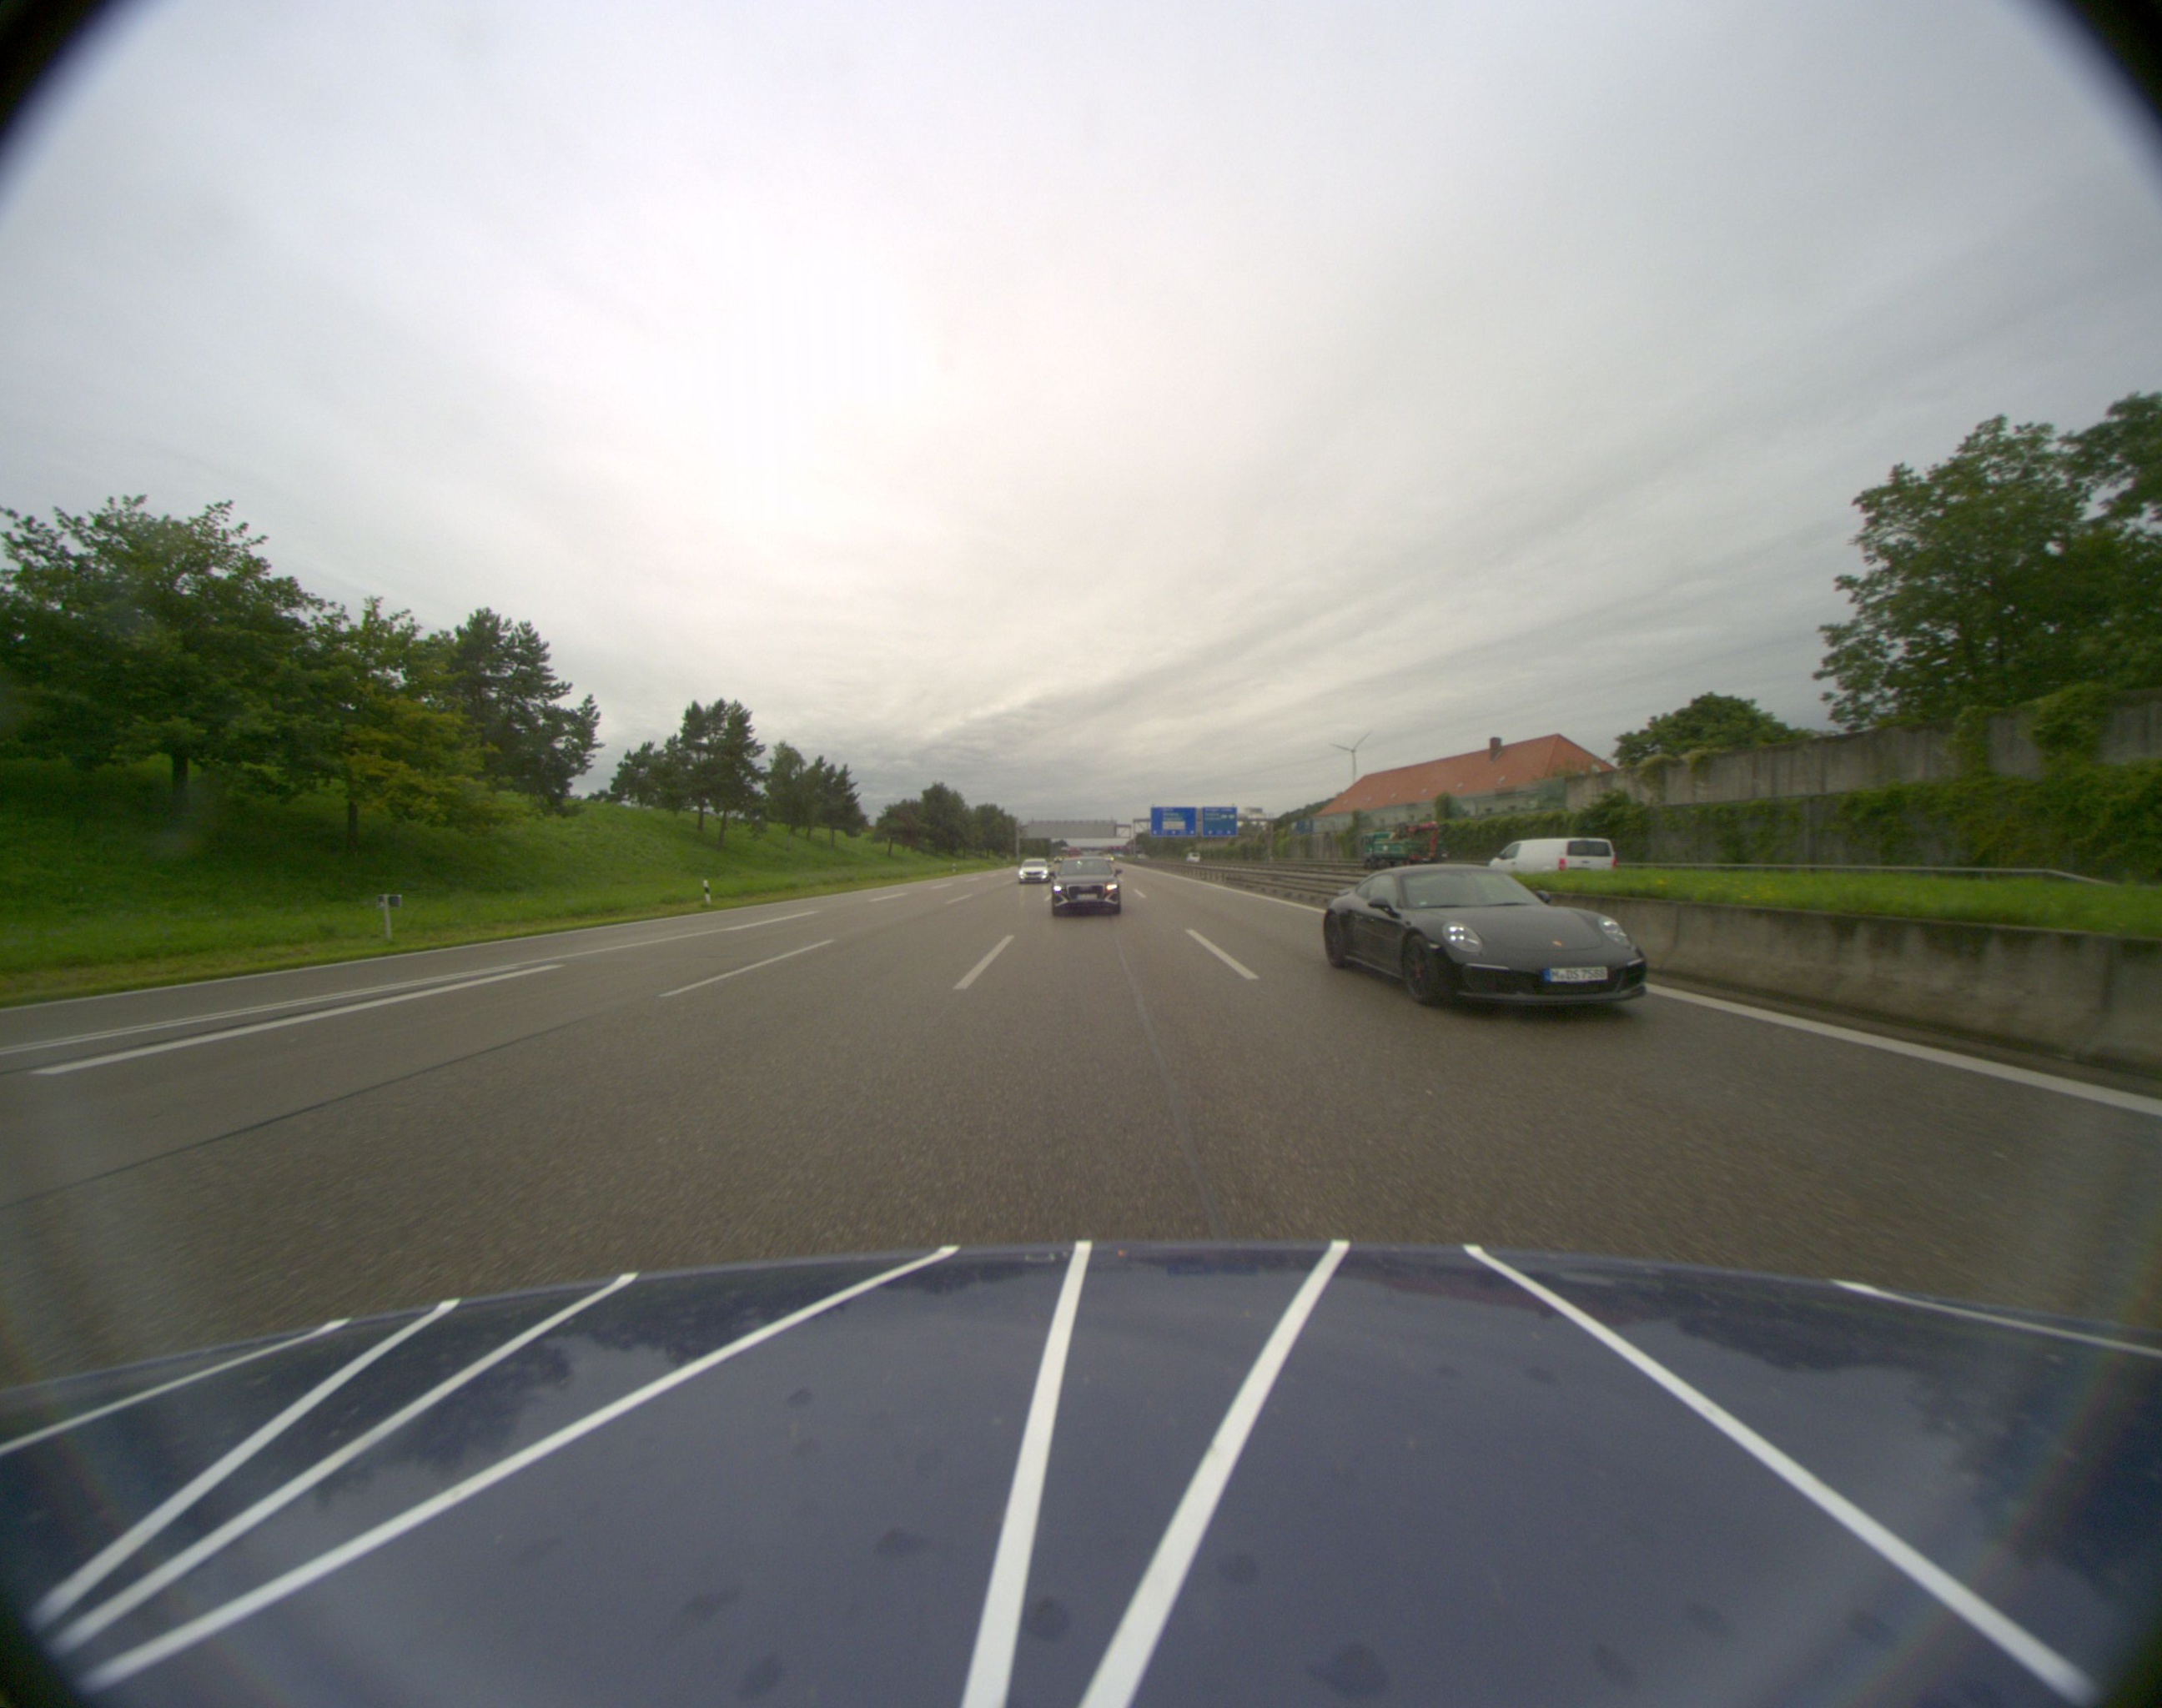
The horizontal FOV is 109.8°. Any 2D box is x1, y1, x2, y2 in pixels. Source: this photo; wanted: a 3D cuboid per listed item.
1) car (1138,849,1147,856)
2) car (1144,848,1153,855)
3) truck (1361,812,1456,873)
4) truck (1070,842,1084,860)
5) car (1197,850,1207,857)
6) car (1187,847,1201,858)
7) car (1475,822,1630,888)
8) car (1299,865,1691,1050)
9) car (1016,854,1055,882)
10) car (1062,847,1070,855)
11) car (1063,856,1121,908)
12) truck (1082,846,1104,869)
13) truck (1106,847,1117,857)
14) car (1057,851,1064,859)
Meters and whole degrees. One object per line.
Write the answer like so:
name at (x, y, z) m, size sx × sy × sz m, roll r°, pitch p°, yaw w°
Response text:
car at (15.307, -0.443, 188.231) m, size 1.792 × 1.741 × 4.535 m, roll -2°, pitch 1°, yaw -1°
car at (19.608, -0.656, 220.807) m, size 1.937 × 2.002 × 4.731 m, roll -2°, pitch 0°, yaw -1°
truck at (22.017, -0.770, 51.649) m, size 2.698 × 3.755 × 8.335 m, roll -2°, pitch 1°, yaw 0°
truck at (-0.823, -0.673, 166.364) m, size 2.836 × 3.634 × 10.670 m, roll -2°, pitch 1°, yaw 1°
car at (28.032, -0.094, 176.118) m, size 1.960 × 1.543 × 4.522 m, roll -2°, pitch 1°, yaw 4°
car at (21.322, -0.237, 143.429) m, size 1.998 × 2.002 × 4.956 m, roll -2°, pitch 1°, yaw 0°
car at (15.967, 0.020, 26.138) m, size 2.085 × 2.002 × 5.194 m, roll -2°, pitch 0°, yaw 0°
car at (3.977, 0.856, 8.456) m, size 1.655 × 1.264 × 4.924 m, roll -2°, pitch 1°, yaw 0°
car at (-2.712, 0.816, 46.279) m, size 1.998 × 1.555 × 4.910 m, roll 0°, pitch 0°, yaw 1°
car at (-4.135, -0.781, 208.986) m, size 1.998 × 2.002 × 4.000 m, roll -2°, pitch 1°, yaw 2°
car at (0.315, 0.811, 23.494) m, size 1.616 × 1.403 × 3.326 m, roll -2°, pitch 1°, yaw 0°
truck at (1.127, 0.315, 71.642) m, size 1.894 × 2.002 × 6.261 m, roll -2°, pitch 1°, yaw 1°
truck at (6.001, -0.404, 150.601) m, size 1.998 × 2.002 × 4.000 m, roll -2°, pitch 0°, yaw 1°
car at (-4.686, 0.233, 174.978) m, size 1.346 × 1.732 × 3.106 m, roll -2°, pitch 1°, yaw 1°
